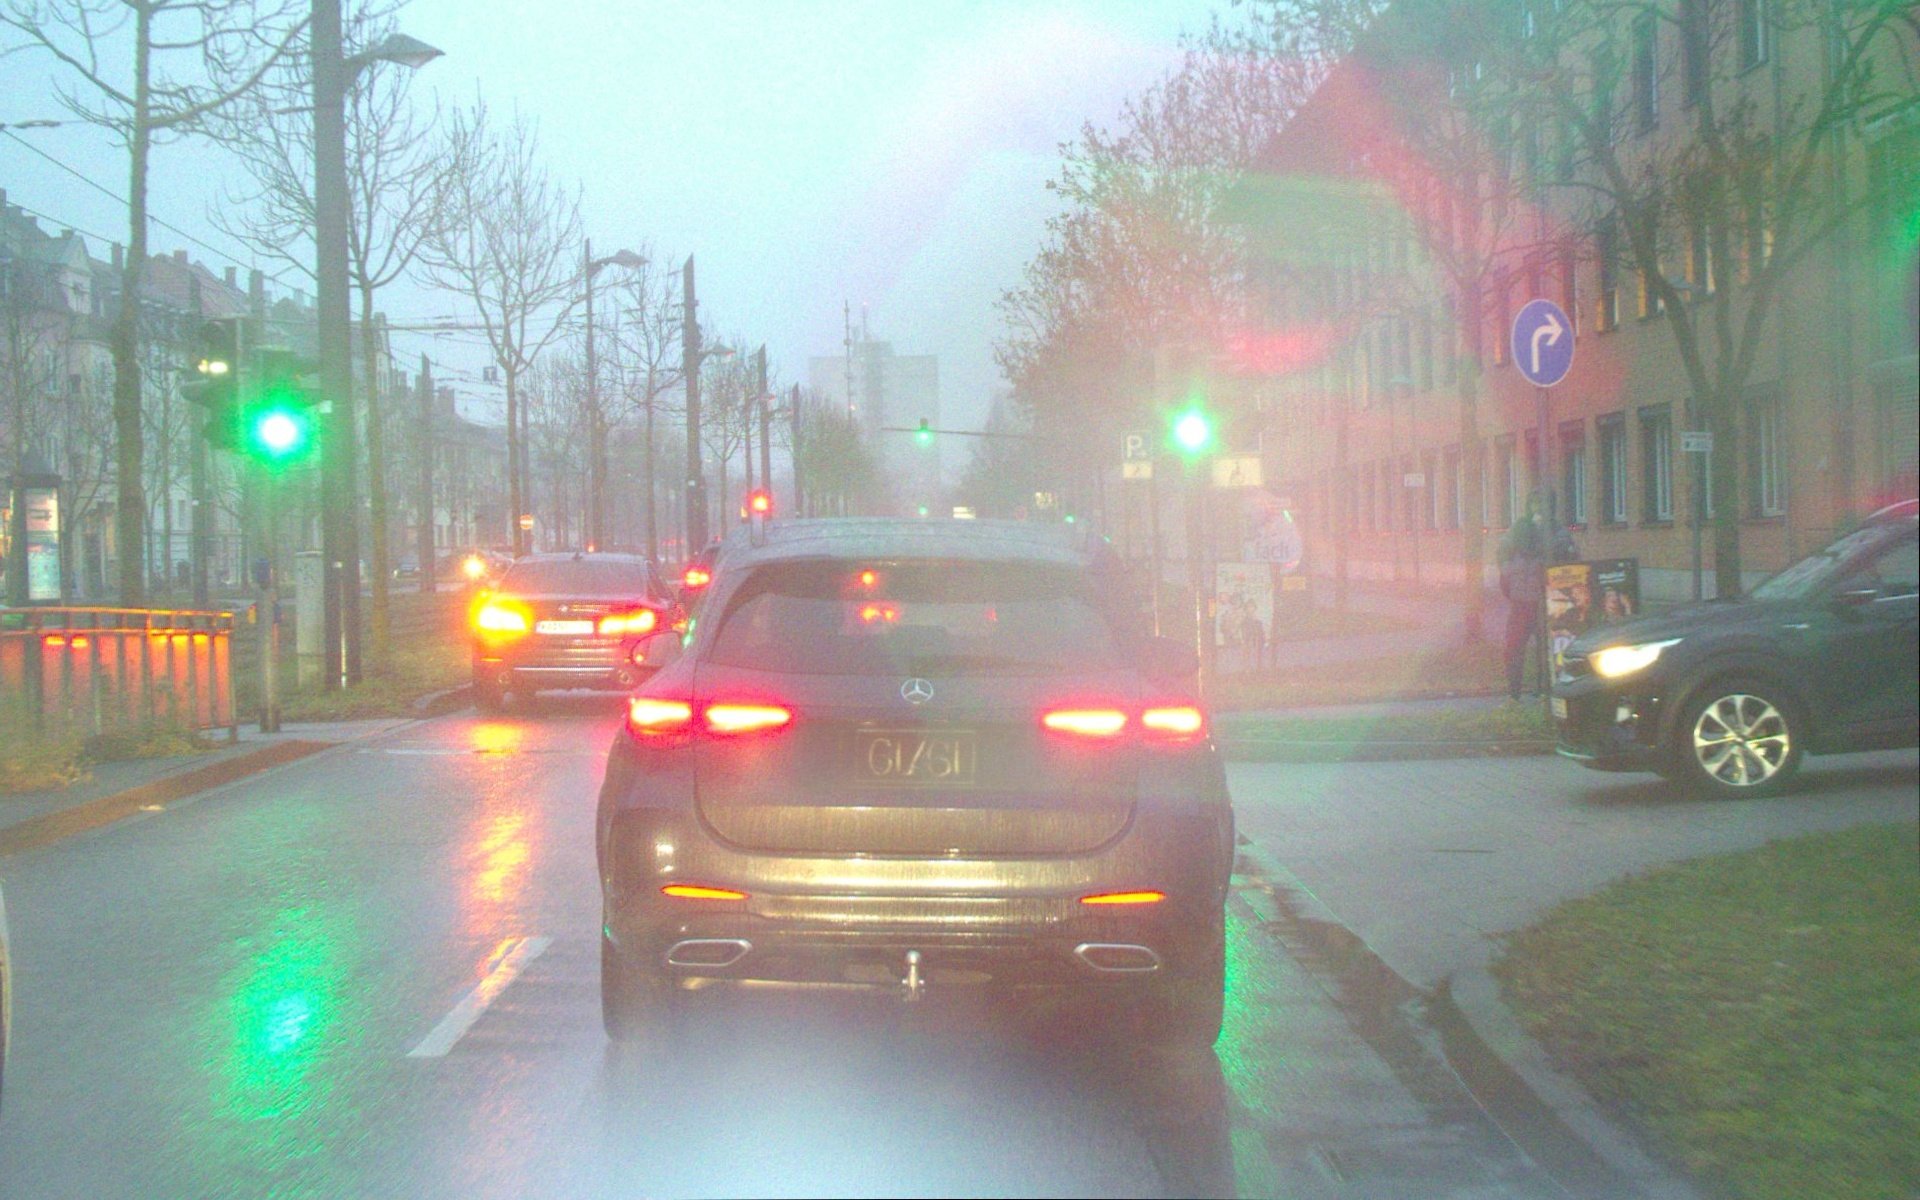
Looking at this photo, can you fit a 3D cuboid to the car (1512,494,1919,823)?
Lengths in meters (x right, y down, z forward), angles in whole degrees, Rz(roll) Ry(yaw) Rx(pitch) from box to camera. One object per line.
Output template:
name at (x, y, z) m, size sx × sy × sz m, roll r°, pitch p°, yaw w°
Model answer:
car at (5.084, 0.221, 18.517) m, size 3.860 × 1.555 × 1.765 m, roll -4°, pitch 1°, yaw 1°

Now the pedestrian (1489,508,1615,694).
pedestrian at (5.172, 0.008, 30.040) m, size 0.903 × 1.590 × 0.501 m, roll -1°, pitch 1°, yaw 42°

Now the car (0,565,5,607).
car at (-28.579, -0.310, 95.103) m, size 3.774 × 1.152 × 1.649 m, roll -2°, pitch 1°, yaw 5°

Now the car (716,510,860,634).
car at (-2.573, -0.452, 52.368) m, size 1.993 × 1.759 × 4.000 m, roll -2°, pitch 1°, yaw -1°

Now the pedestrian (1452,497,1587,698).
pedestrian at (4.527, -0.020, 27.844) m, size 0.903 × 1.590 × 0.501 m, roll -1°, pitch 1°, yaw 42°

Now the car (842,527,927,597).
car at (-1.828, -0.955, 84.231) m, size 1.993 × 1.612 × 4.000 m, roll -2°, pitch 1°, yaw -1°

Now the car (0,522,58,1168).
car at (-2.983, 0.623, 6.436) m, size 1.626 × 1.482 × 4.001 m, roll -2°, pitch 1°, yaw -2°

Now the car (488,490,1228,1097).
car at (-0.328, 0.495, 11.472) m, size 1.991 × 1.610 × 4.000 m, roll -2°, pitch 1°, yaw -1°

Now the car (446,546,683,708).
car at (-3.732, 0.216, 33.076) m, size 1.993 × 1.393 × 4.001 m, roll -2°, pitch 1°, yaw -3°
